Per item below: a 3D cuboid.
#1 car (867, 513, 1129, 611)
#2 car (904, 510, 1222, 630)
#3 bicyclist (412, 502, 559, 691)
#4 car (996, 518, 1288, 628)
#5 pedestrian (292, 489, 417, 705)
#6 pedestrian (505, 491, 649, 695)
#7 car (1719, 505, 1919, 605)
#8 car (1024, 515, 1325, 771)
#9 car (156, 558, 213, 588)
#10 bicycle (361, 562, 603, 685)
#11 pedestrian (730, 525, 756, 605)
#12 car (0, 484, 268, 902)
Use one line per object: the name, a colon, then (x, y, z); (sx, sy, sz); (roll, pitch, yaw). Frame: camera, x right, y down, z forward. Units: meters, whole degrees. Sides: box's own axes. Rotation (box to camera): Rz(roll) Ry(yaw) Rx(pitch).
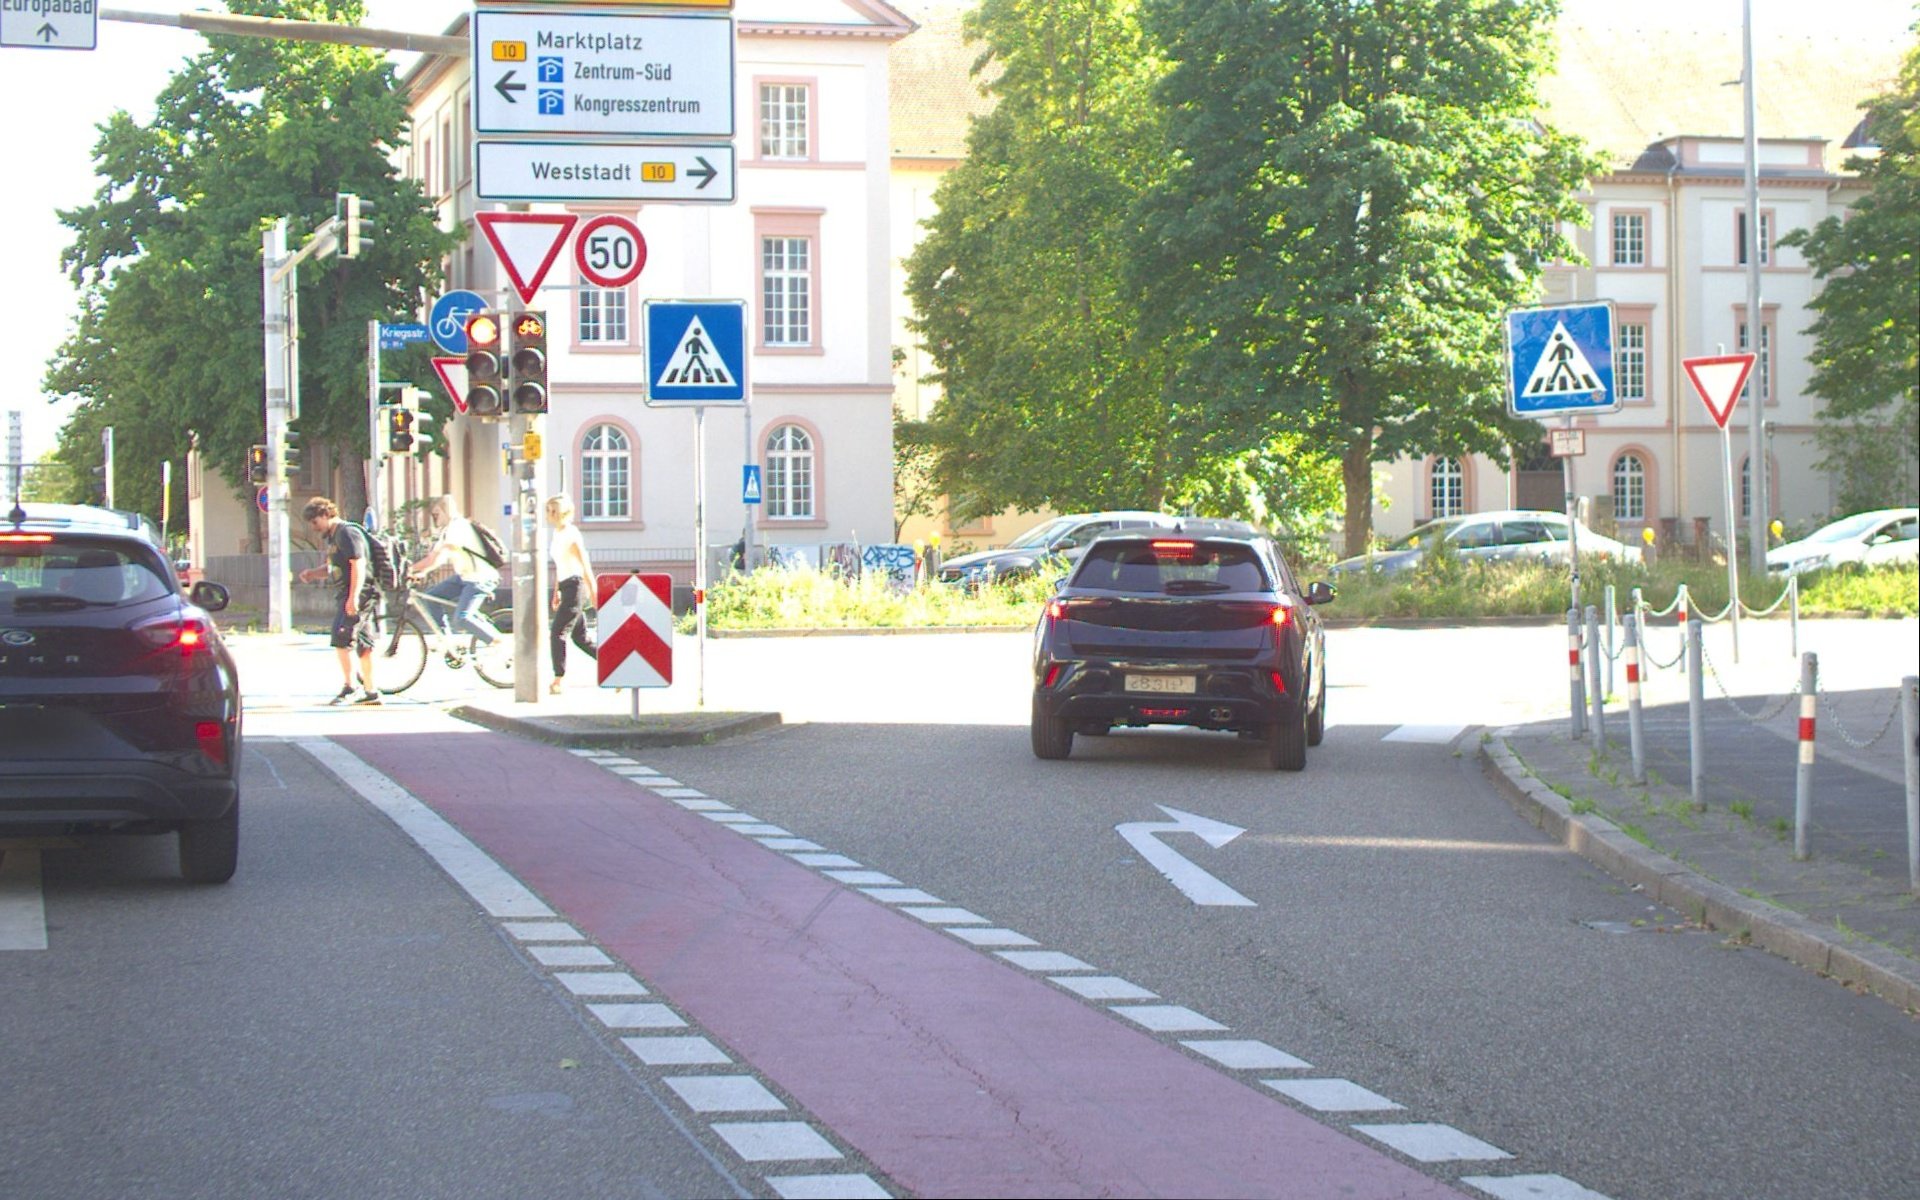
car: (0.649, -0.669, 59.051); (4.113, 1.596, 1.823); (-1, 1, -22)
car: (1.456, -0.449, 48.870); (4.113, 1.596, 1.823); (-1, 1, -22)
bicyclist: (-4.172, -0.039, 30.207); (1.164, 1.628, 0.729); (0, 1, -18)
car: (2.805, -0.433, 53.050); (4.113, 1.596, 1.823); (-1, 1, -22)
pedestrian: (-4.860, -0.033, 27.563); (0.825, 1.696, 0.918); (0, 1, -21)
pedestrian: (-3.202, -0.069, 28.715); (1.040, 1.654, 0.784); (-1, 1, -17)
car: (14.313, -0.732, 54.436); (4.173, 1.503, 1.823); (-1, 2, -22)
car: (1.516, 0.241, 23.192); (1.746, 1.568, 3.557); (1, 1, 8)
car: (-39.117, -1.379, 173.390); (1.810, 1.402, 4.000); (-1, 1, 2)
bicycle: (-4.201, 0.196, 30.217); (2.030, 1.057, 0.622); (0, 1, -18)
pedestrian: (-4.456, -0.718, 70.694); (0.440, 1.610, 0.467); (2, 0, -9)
car: (-4.075, 0.313, 14.877); (1.829, 1.573, 3.840); (-1, 2, -15)
